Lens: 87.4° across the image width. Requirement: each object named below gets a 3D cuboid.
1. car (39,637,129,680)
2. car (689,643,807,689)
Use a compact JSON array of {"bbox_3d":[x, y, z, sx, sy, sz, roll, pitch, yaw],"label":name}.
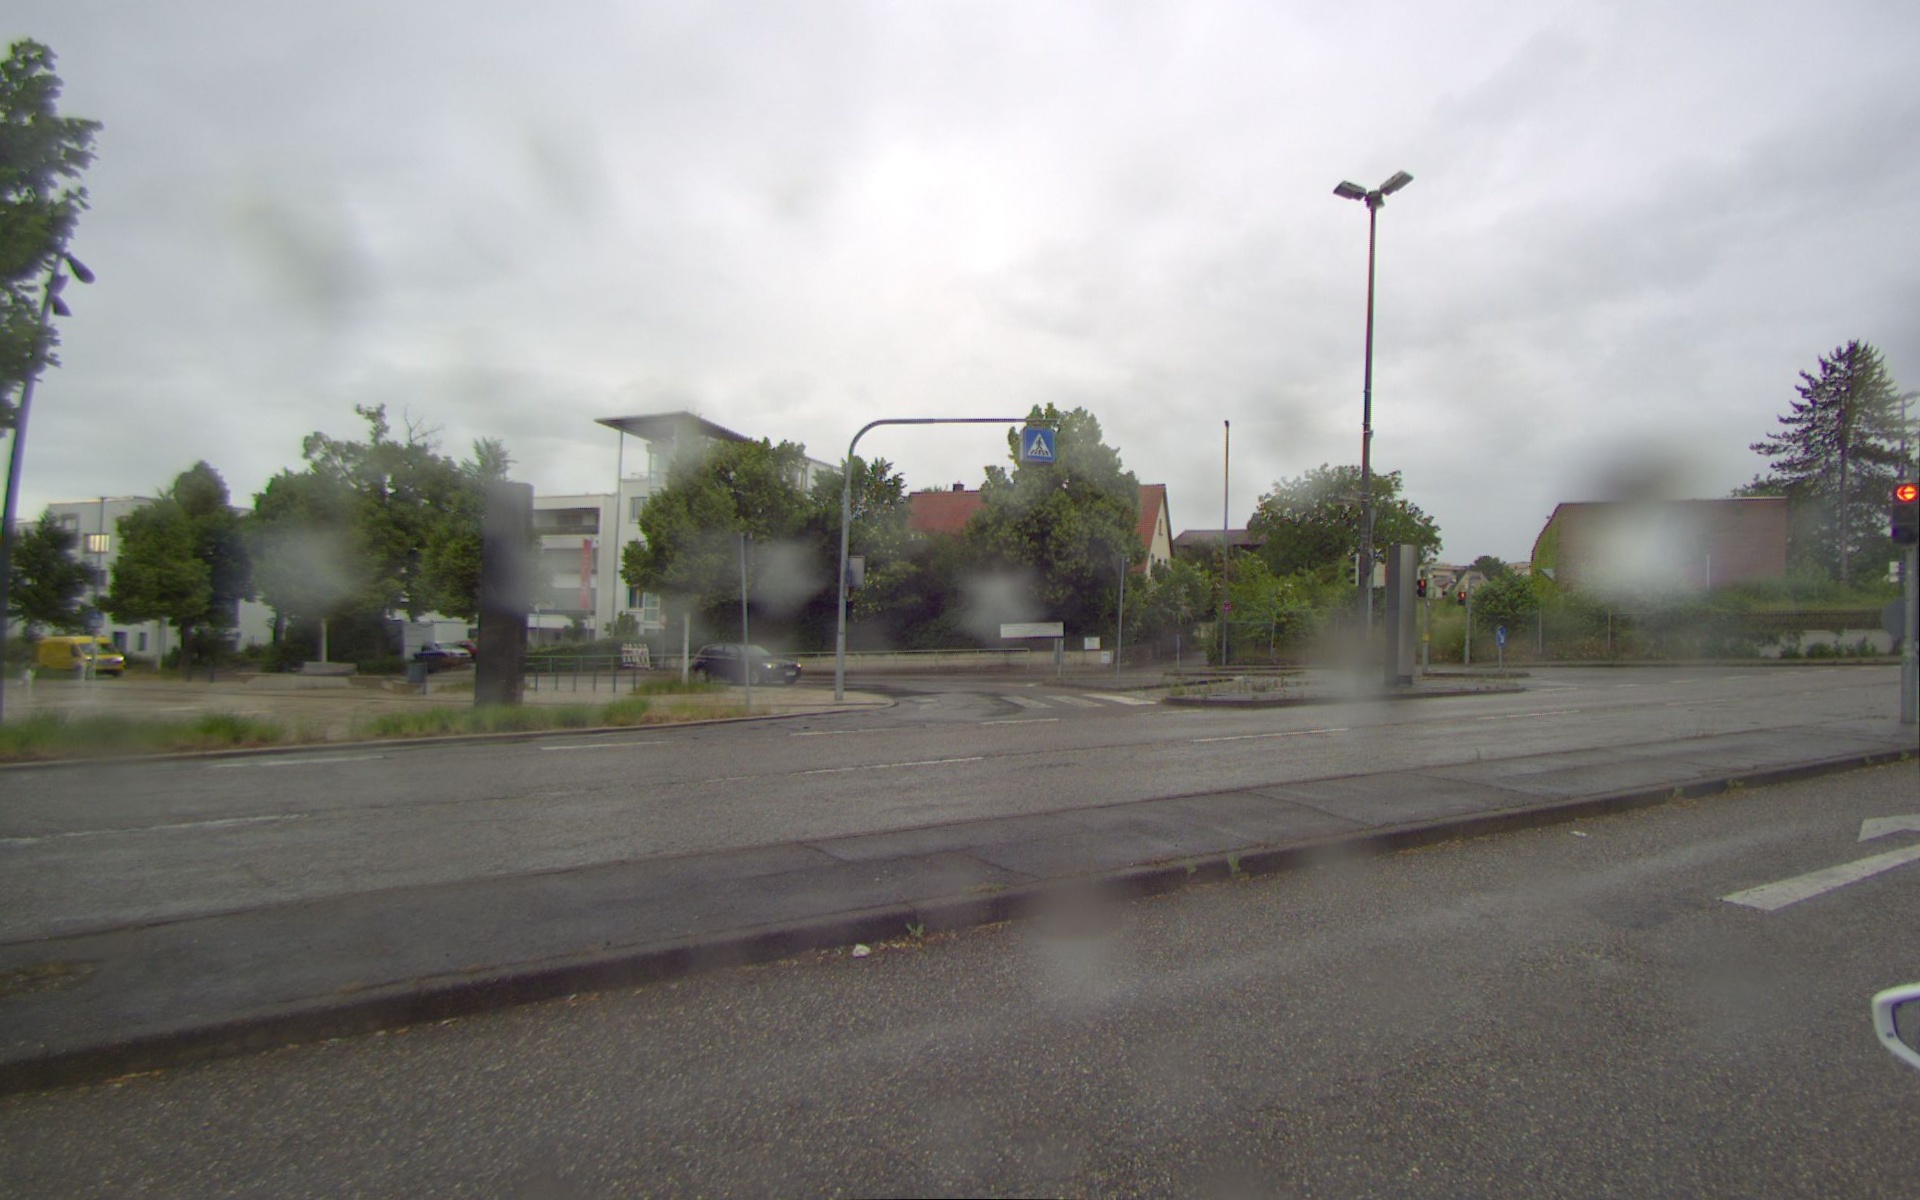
[{"bbox_3d":[-51.790,3.445,59.350,5.809,2.441,1.998,-2,-3,27],"label":"car"},{"bbox_3d":[-7.346,2.219,34.594,4.217,1.408,1.782,-1,-2,40],"label":"car"}]
